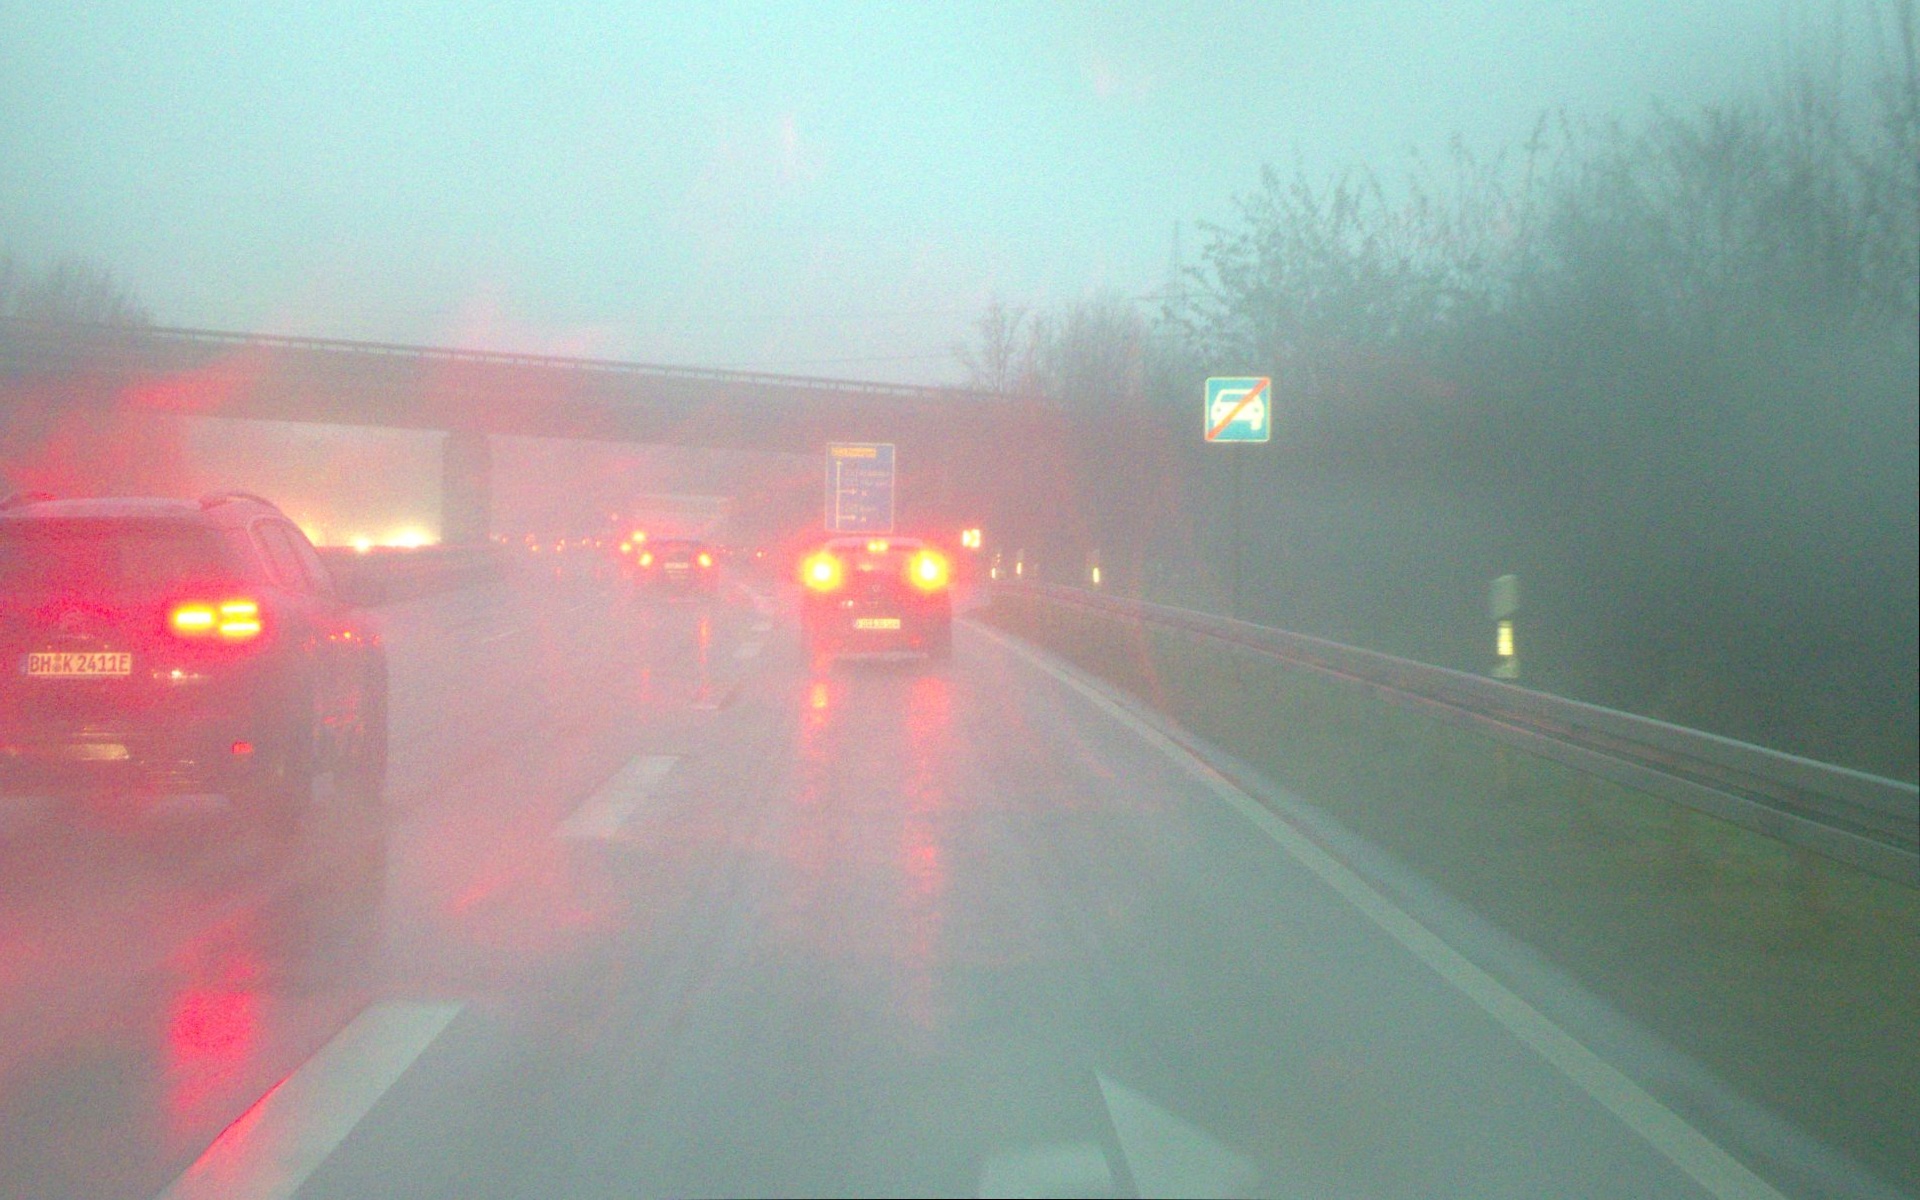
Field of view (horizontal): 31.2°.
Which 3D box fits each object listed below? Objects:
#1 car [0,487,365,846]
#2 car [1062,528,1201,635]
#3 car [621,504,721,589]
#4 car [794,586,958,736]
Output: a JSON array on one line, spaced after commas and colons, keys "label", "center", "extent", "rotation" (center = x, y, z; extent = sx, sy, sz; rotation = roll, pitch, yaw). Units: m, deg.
[{"label": "car", "center": [-4.209, 0.264, 17.951], "extent": [1.993, 1.659, 4.001], "rotation": [0, 1, -7]}, {"label": "car", "center": [2.333, -0.256, 47.651], "extent": [1.683, 1.413, 3.874], "rotation": [0, 0, -1]}, {"label": "car", "center": [-6.079, -1.161, 72.634], "extent": [1.878, 1.611, 3.875], "rotation": [2, 3, -2]}, {"label": "car", "center": [-0.930, 0.663, 39.795], "extent": [1.732, 1.424, 3.766], "rotation": [2, 3, 0]}]
